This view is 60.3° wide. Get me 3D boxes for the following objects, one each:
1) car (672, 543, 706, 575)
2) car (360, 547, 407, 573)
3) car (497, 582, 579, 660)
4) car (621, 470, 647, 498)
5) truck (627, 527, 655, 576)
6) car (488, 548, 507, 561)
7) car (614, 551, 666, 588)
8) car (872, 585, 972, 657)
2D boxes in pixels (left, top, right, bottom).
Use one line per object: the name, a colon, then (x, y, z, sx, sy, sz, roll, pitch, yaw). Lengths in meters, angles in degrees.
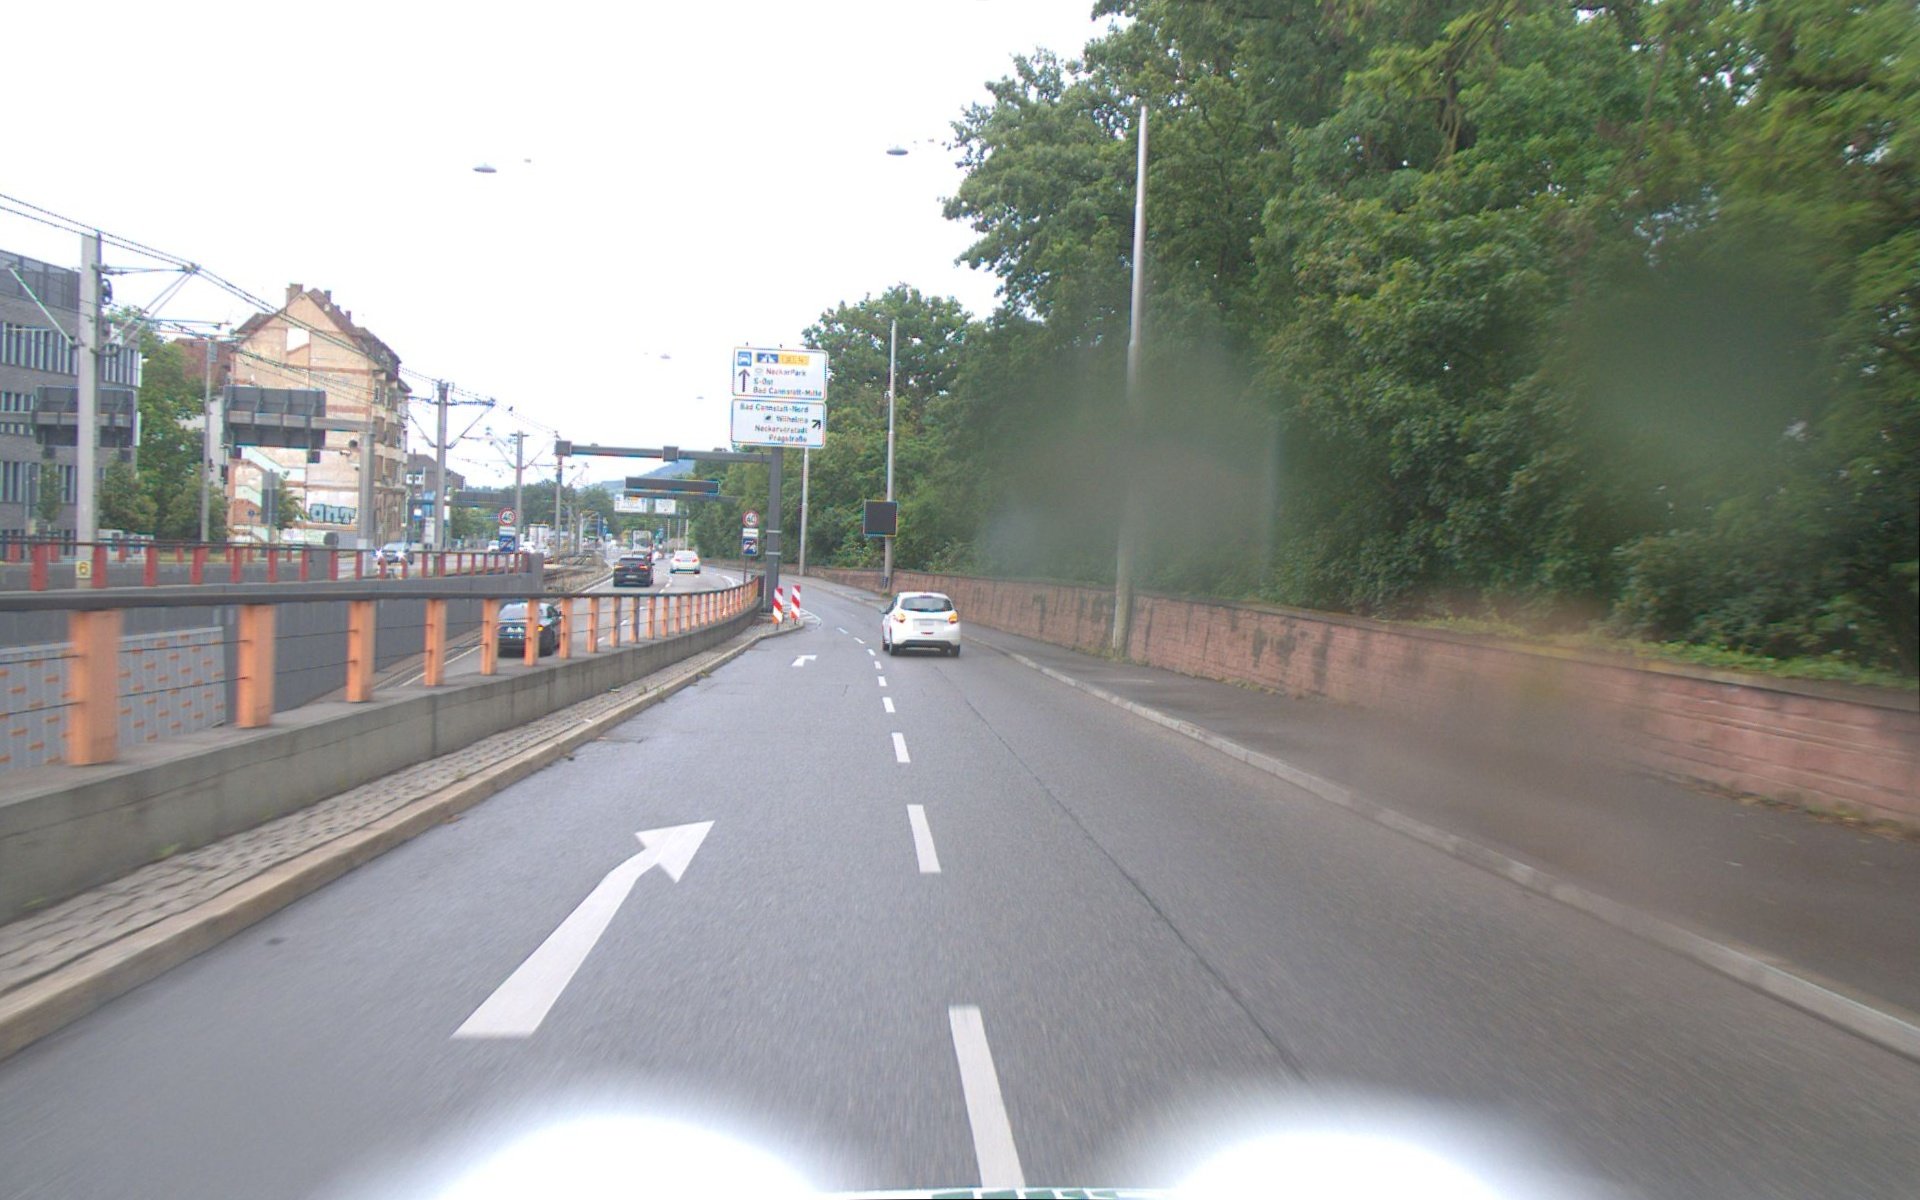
car: (-17.753, -2.684, 108.232, 2.044, 1.905, 4.084, 1, -1, -11)
car: (-37.627, -2.588, 107.969, 1.788, 1.612, 3.830, 2, 1, -2)
car: (-12.146, 0.566, 47.754, 1.688, 1.923, 3.533, 2, 3, -5)
car: (-25.966, -9.213, 131.831, 1.959, 1.905, 3.987, 1, -1, -12)
truck: (-42.411, -6.382, 219.894, 3.402, 5.496, 12.017, 2, -3, -11)
car: (-56.262, -5.536, 201.272, 1.792, 1.612, 3.823, 2, 1, -9)
car: (-15.227, -1.441, 78.948, 1.954, 1.603, 3.996, 1, -1, -4)
car: (-0.971, 0.552, 40.065, 1.919, 1.514, 3.992, 2, -3, -8)
